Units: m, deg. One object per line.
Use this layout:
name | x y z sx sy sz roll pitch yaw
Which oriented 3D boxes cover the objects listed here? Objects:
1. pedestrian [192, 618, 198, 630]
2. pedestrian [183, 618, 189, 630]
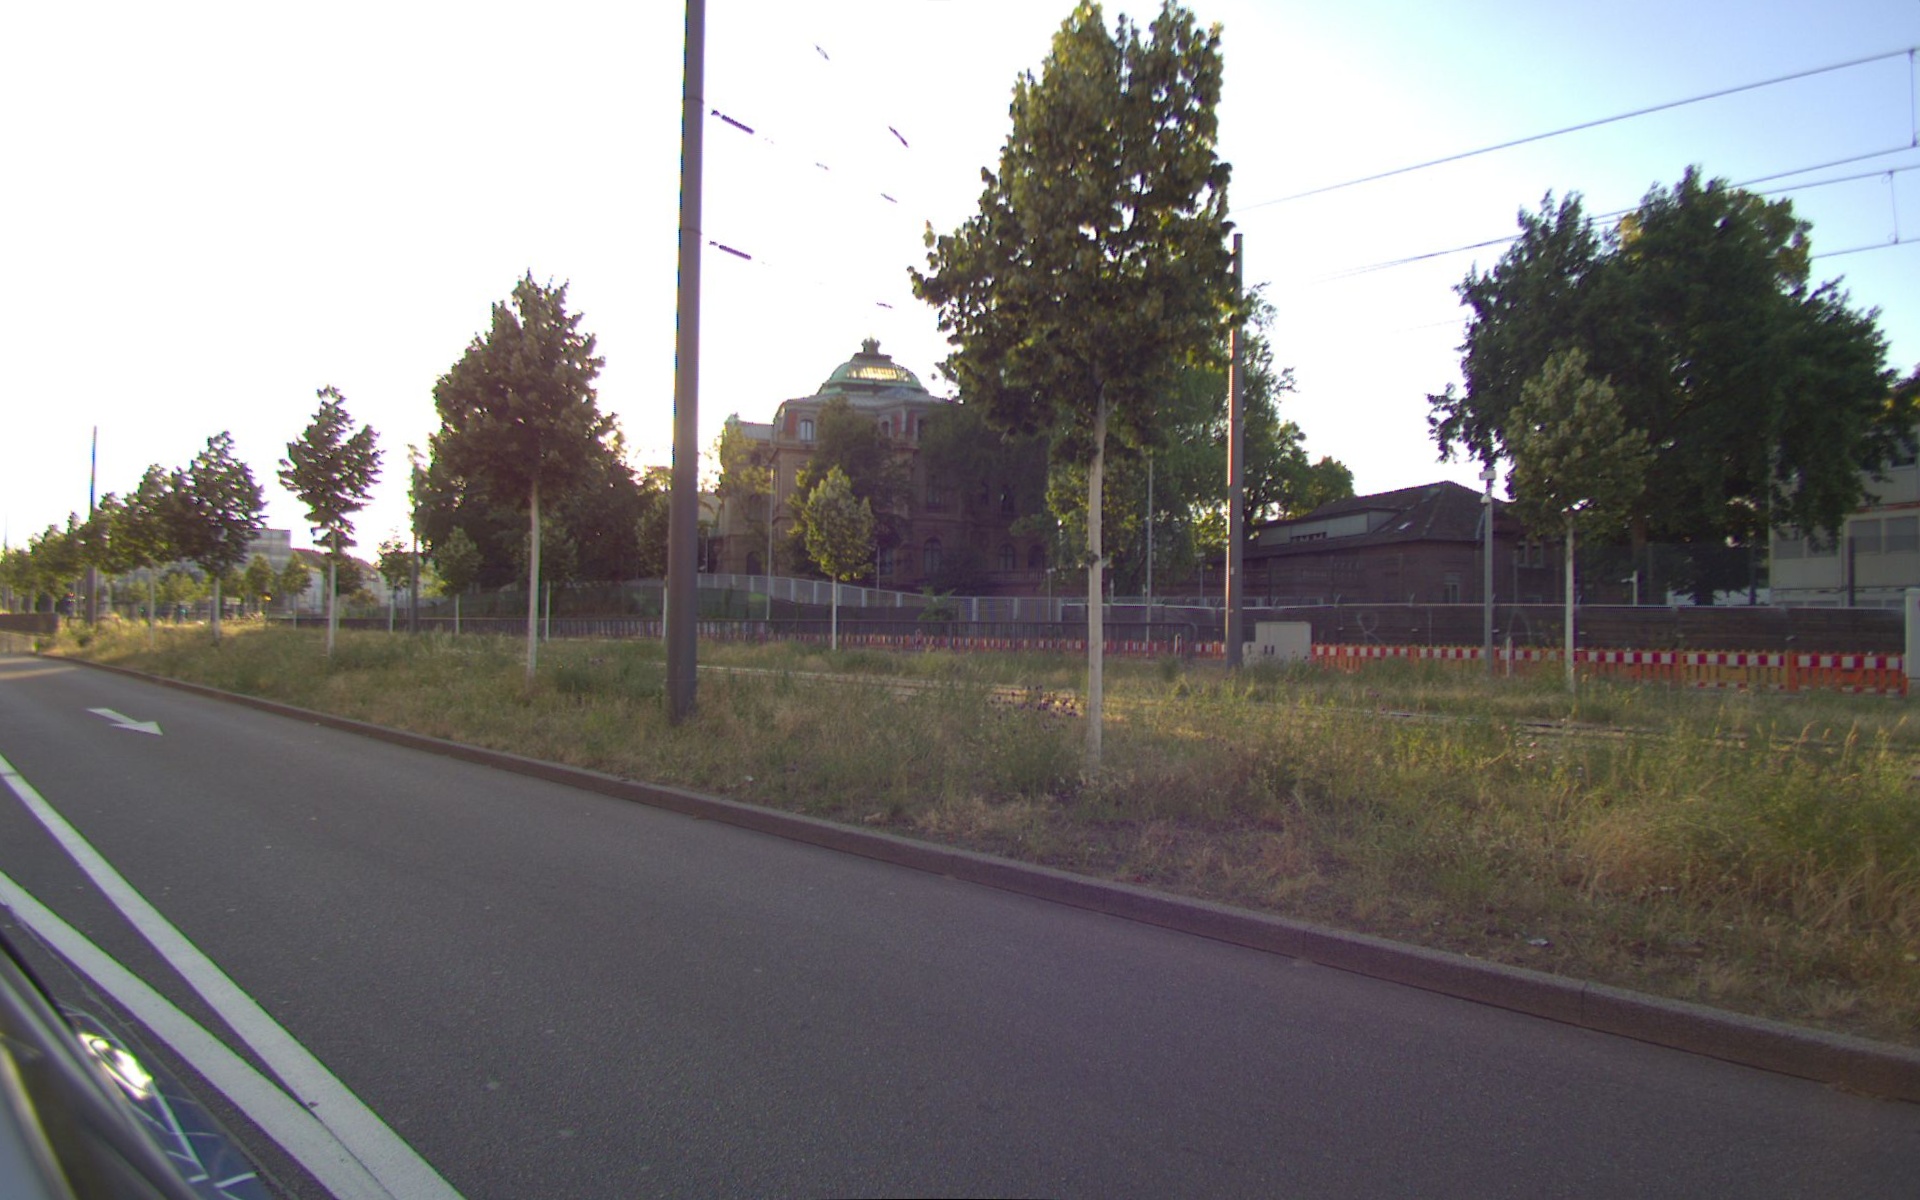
pedestrian | -113.109 3.550 149.699 0.637 1.725 0.839 2 -2 -40
pedestrian | -113.907 3.582 148.869 0.637 1.725 0.839 2 -2 -40
